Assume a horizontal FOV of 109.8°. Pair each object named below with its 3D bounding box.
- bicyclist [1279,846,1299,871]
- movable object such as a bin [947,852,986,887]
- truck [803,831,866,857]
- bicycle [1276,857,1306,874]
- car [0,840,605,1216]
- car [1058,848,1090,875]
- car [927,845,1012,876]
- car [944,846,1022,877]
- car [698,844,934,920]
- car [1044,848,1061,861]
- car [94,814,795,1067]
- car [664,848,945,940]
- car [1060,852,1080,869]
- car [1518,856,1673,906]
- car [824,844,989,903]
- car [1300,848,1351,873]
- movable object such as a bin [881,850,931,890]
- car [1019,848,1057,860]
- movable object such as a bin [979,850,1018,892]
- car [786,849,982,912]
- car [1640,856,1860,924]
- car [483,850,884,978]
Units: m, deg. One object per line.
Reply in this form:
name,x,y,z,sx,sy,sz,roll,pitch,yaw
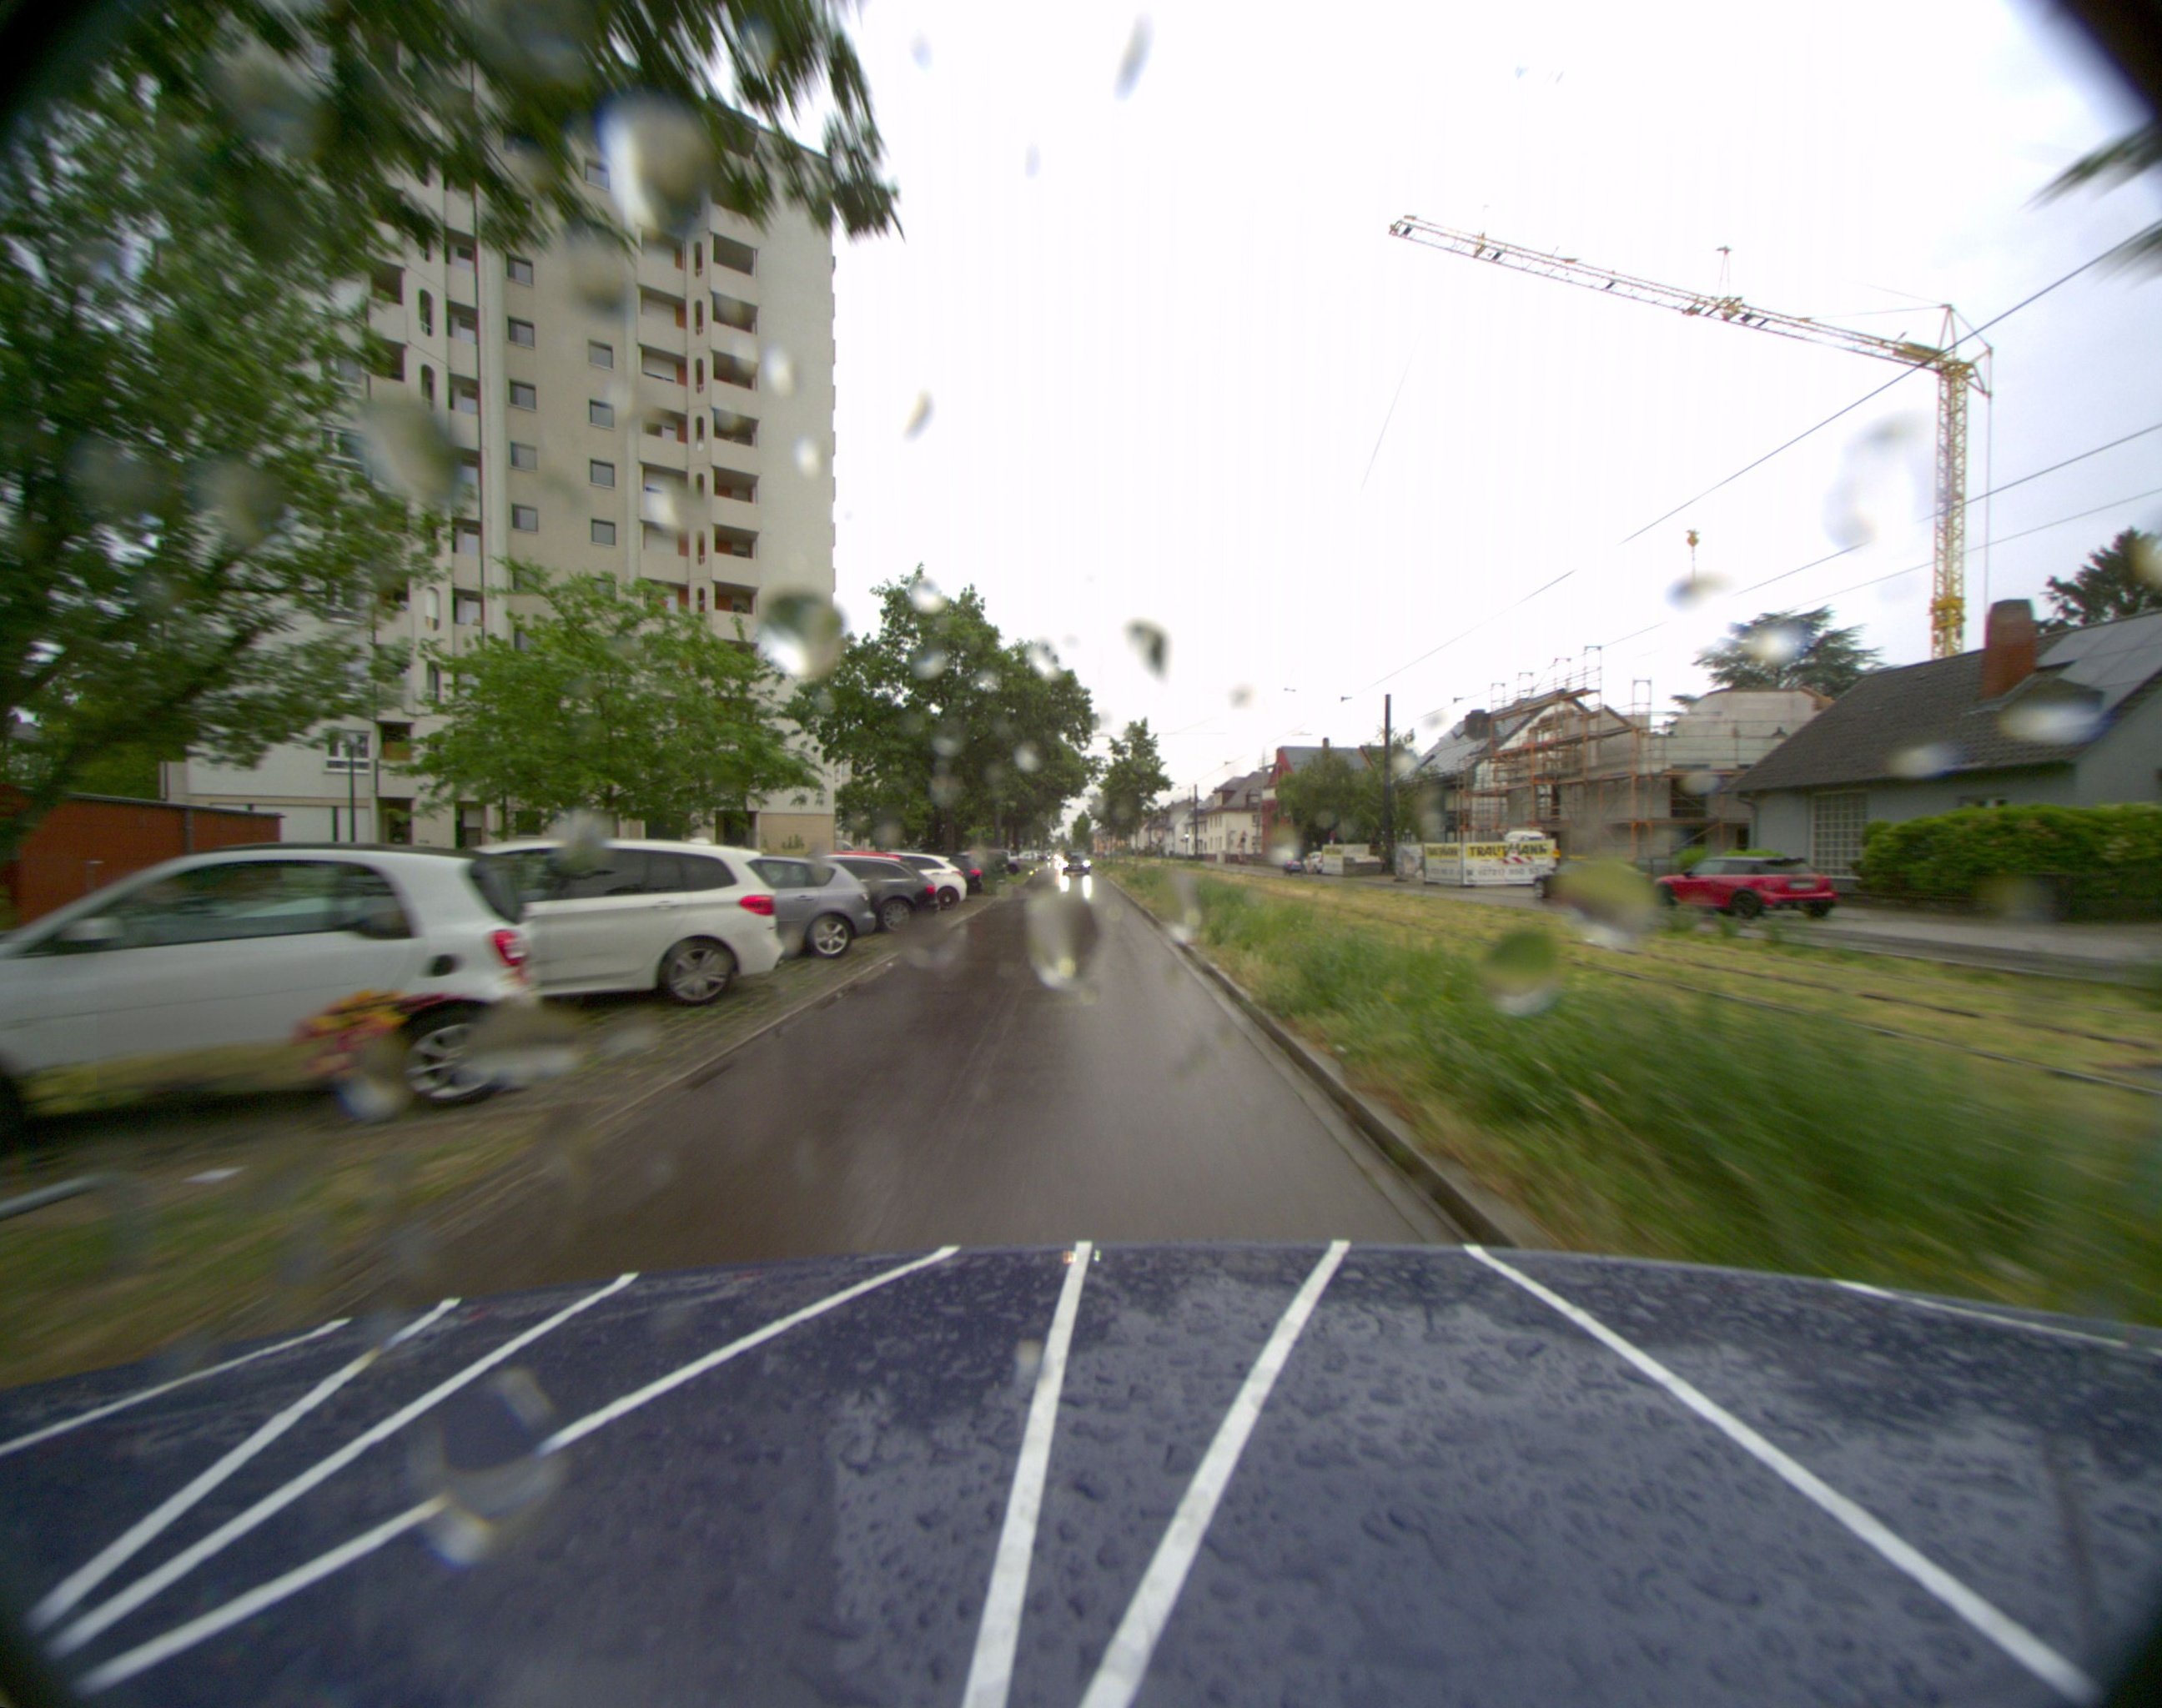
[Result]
bicyclist,13.572,0.254,49.598,0.956,1.575,1.400,-1,2,0
movable object such as a bin,-4.454,0.584,29.490,0.999,1.305,1.183,-2,2,-37
truck,-23.740,-0.992,73.286,5.680,2.424,2.120,-1,2,-18
bicycle,13.590,0.726,49.225,0.937,1.037,3.433,0,1,-1
car,-5.201,0.794,4.198,4.194,1.662,1.680,3,-1,-36
car,-0.417,0.480,50.323,1.998,1.611,3.999,-1,1,0
car,-5.842,0.362,40.000,4.055,1.480,1.720,2,-1,-35
car,-5.507,0.397,43.007,4.054,1.676,1.720,-1,1,-35
car,-5.658,0.612,16.520,4.471,1.420,1.804,3,-1,-38
car,-4.021,0.117,107.707,1.998,1.696,3.999,-1,1,2
car,-5.272,0.639,7.096,4.471,1.662,1.807,3,-1,-39
car,-4.902,0.716,13.743,4.470,1.420,1.680,3,-1,-33
car,-1.214,0.711,83.990,1.998,1.762,3.999,-1,1,2
car,15.958,0.791,23.874,1.999,1.401,4.174,-1,-1,-1
car,-5.185,0.605,22.804,4.469,1.533,1.680,3,1,-31
car,16.974,0.409,52.974,1.999,1.618,4.249,-1,1,-2
movable object such as a bin,-6.413,0.561,27.819,1.370,1.414,1.183,-2,2,-41
car,-5.603,-0.017,99.552,4.486,1.320,1.995,-2,2,-30
movable object such as a bin,-3.226,0.635,29.649,1.165,1.553,1.372,-2,2,-23
car,-5.011,0.699,19.547,4.470,1.456,1.815,3,-1,-34
car,16.137,0.803,18.643,1.999,1.365,3.842,-1,1,-1
car,-5.191,0.746,10.346,4.470,1.401,1.763,3,-1,-34
